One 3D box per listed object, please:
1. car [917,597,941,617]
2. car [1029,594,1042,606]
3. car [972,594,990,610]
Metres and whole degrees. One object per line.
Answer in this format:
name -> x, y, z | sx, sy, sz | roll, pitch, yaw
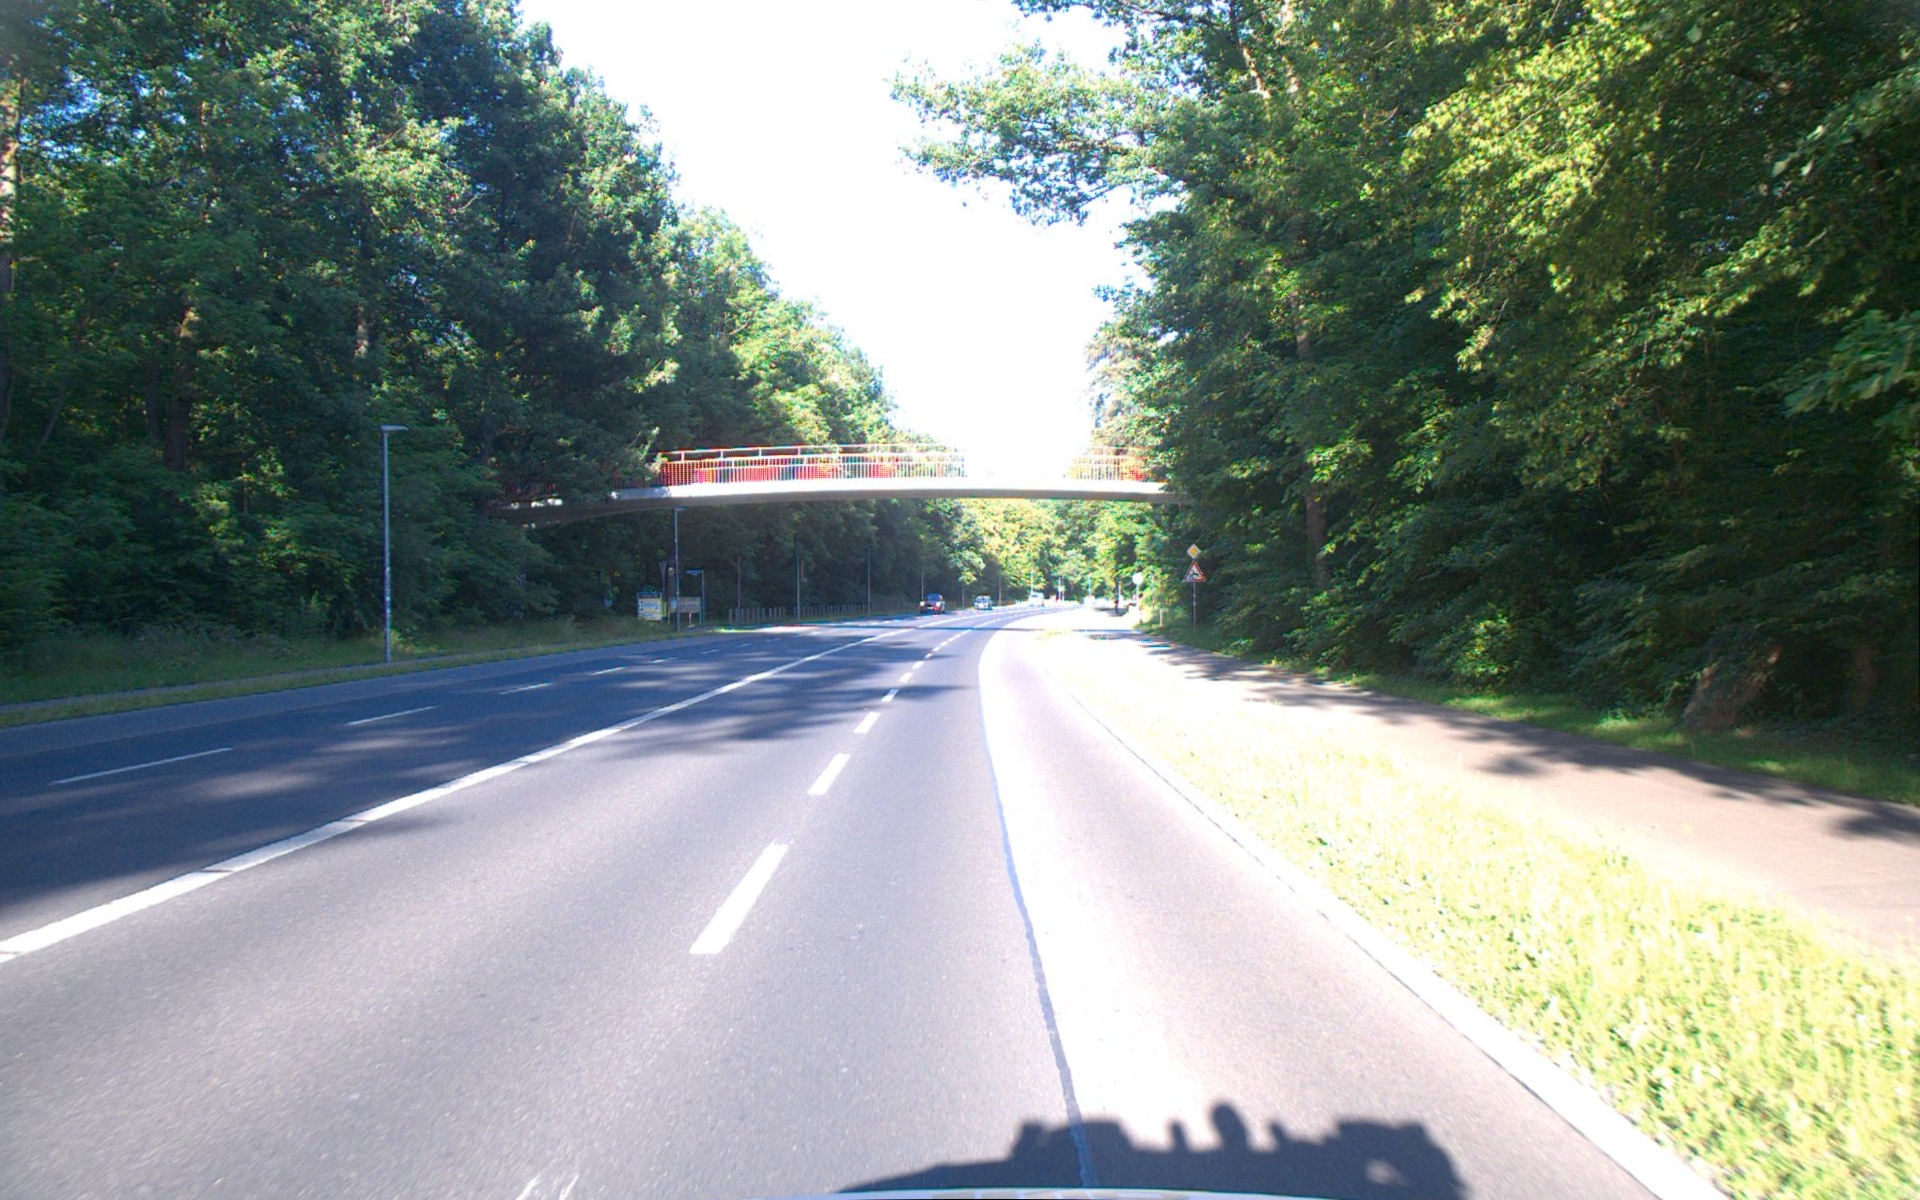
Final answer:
car -> -2.584, 0.561, 138.431 | 1.725, 1.610, 4.170 | 1, 0, 3
car -> 10.476, -0.014, 229.329 | 1.669, 1.739, 4.001 | 0, 0, 3
car -> 2.251, 0.227, 177.679 | 1.686, 1.601, 4.179 | 2, 0, 4
